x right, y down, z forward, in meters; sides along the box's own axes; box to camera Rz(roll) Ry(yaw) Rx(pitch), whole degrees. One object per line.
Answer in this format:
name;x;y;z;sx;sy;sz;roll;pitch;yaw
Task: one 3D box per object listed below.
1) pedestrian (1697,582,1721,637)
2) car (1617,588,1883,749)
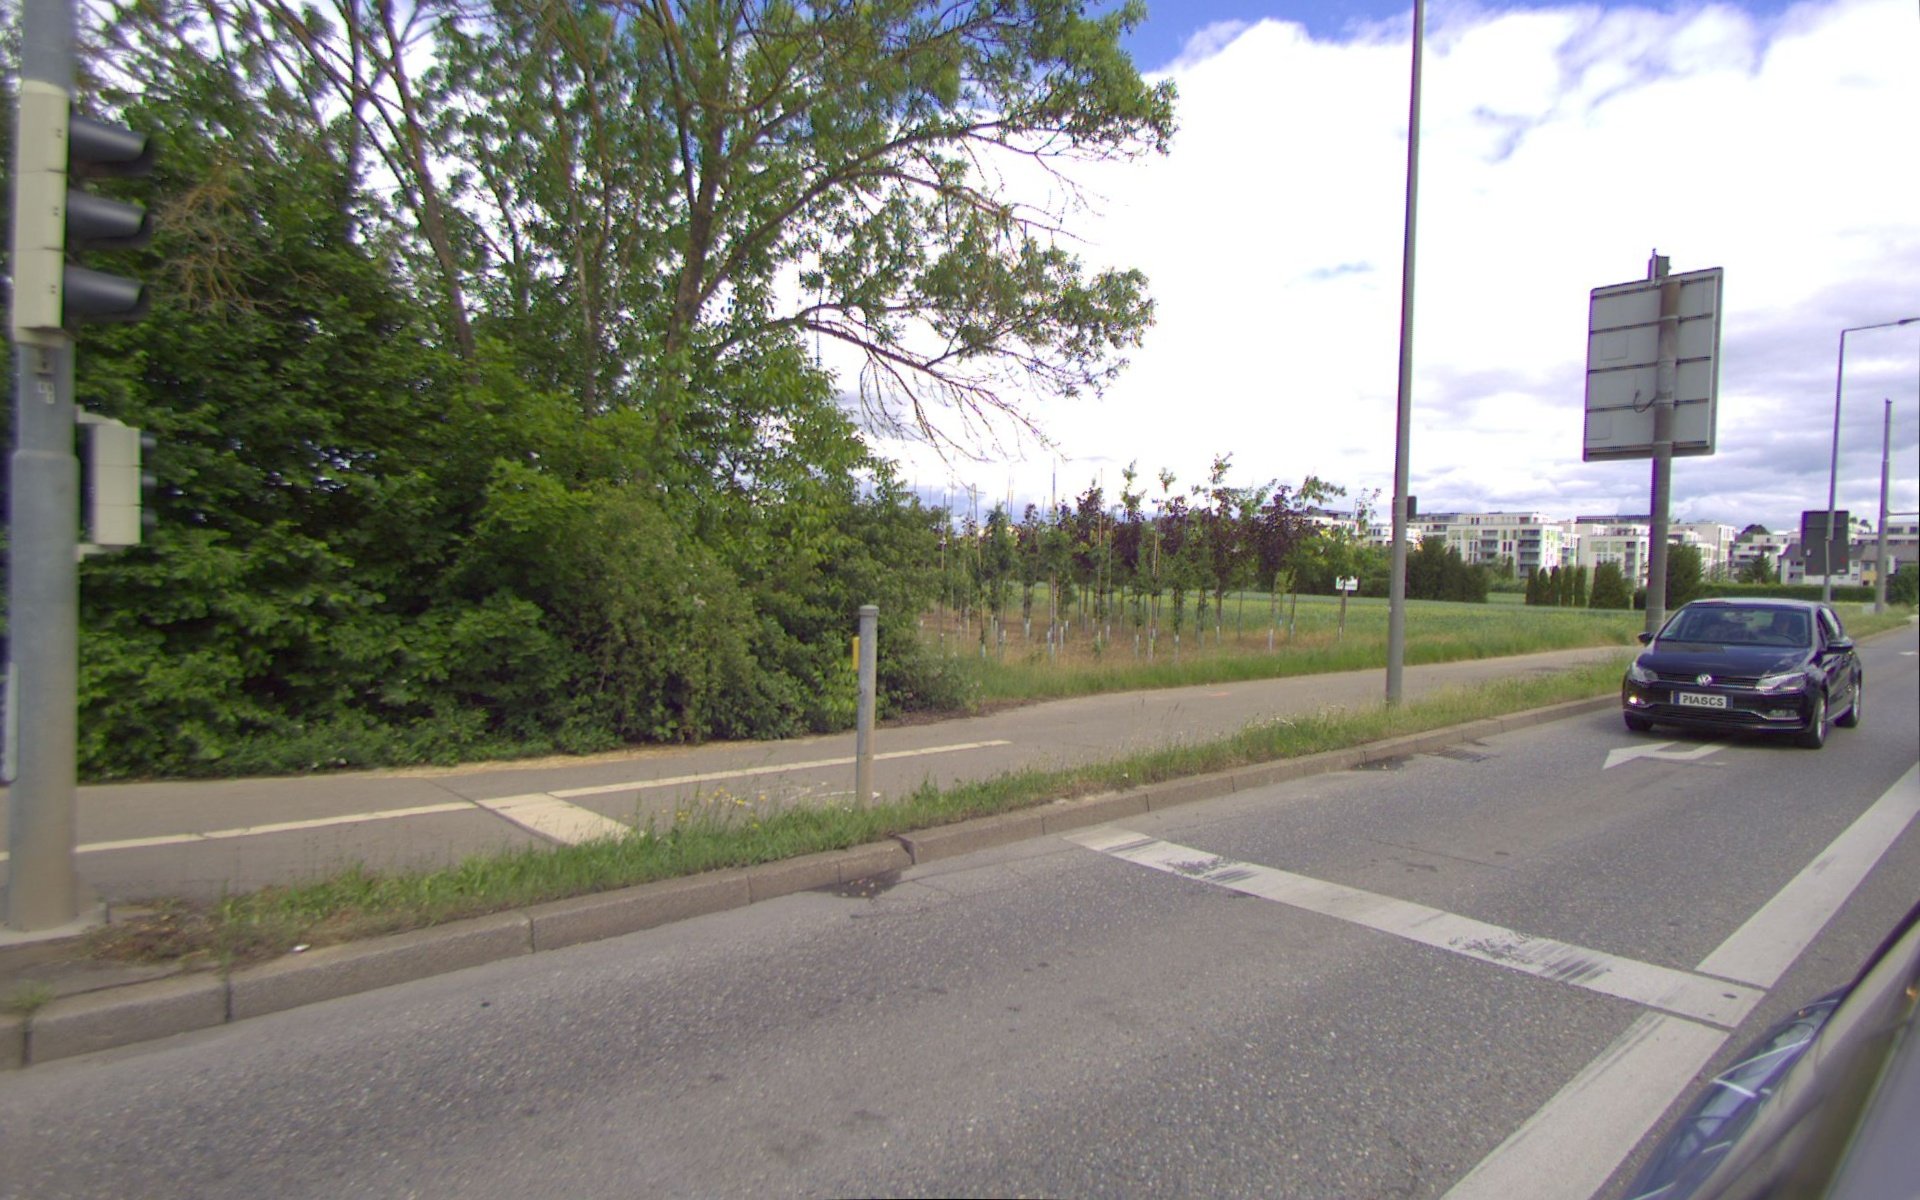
pedestrian;23.671;0.300;31.992;0.615;1.724;0.492;-1;0;-43
car;8.785;0.611;11.153;3.676;1.436;1.681;-1;2;-42
